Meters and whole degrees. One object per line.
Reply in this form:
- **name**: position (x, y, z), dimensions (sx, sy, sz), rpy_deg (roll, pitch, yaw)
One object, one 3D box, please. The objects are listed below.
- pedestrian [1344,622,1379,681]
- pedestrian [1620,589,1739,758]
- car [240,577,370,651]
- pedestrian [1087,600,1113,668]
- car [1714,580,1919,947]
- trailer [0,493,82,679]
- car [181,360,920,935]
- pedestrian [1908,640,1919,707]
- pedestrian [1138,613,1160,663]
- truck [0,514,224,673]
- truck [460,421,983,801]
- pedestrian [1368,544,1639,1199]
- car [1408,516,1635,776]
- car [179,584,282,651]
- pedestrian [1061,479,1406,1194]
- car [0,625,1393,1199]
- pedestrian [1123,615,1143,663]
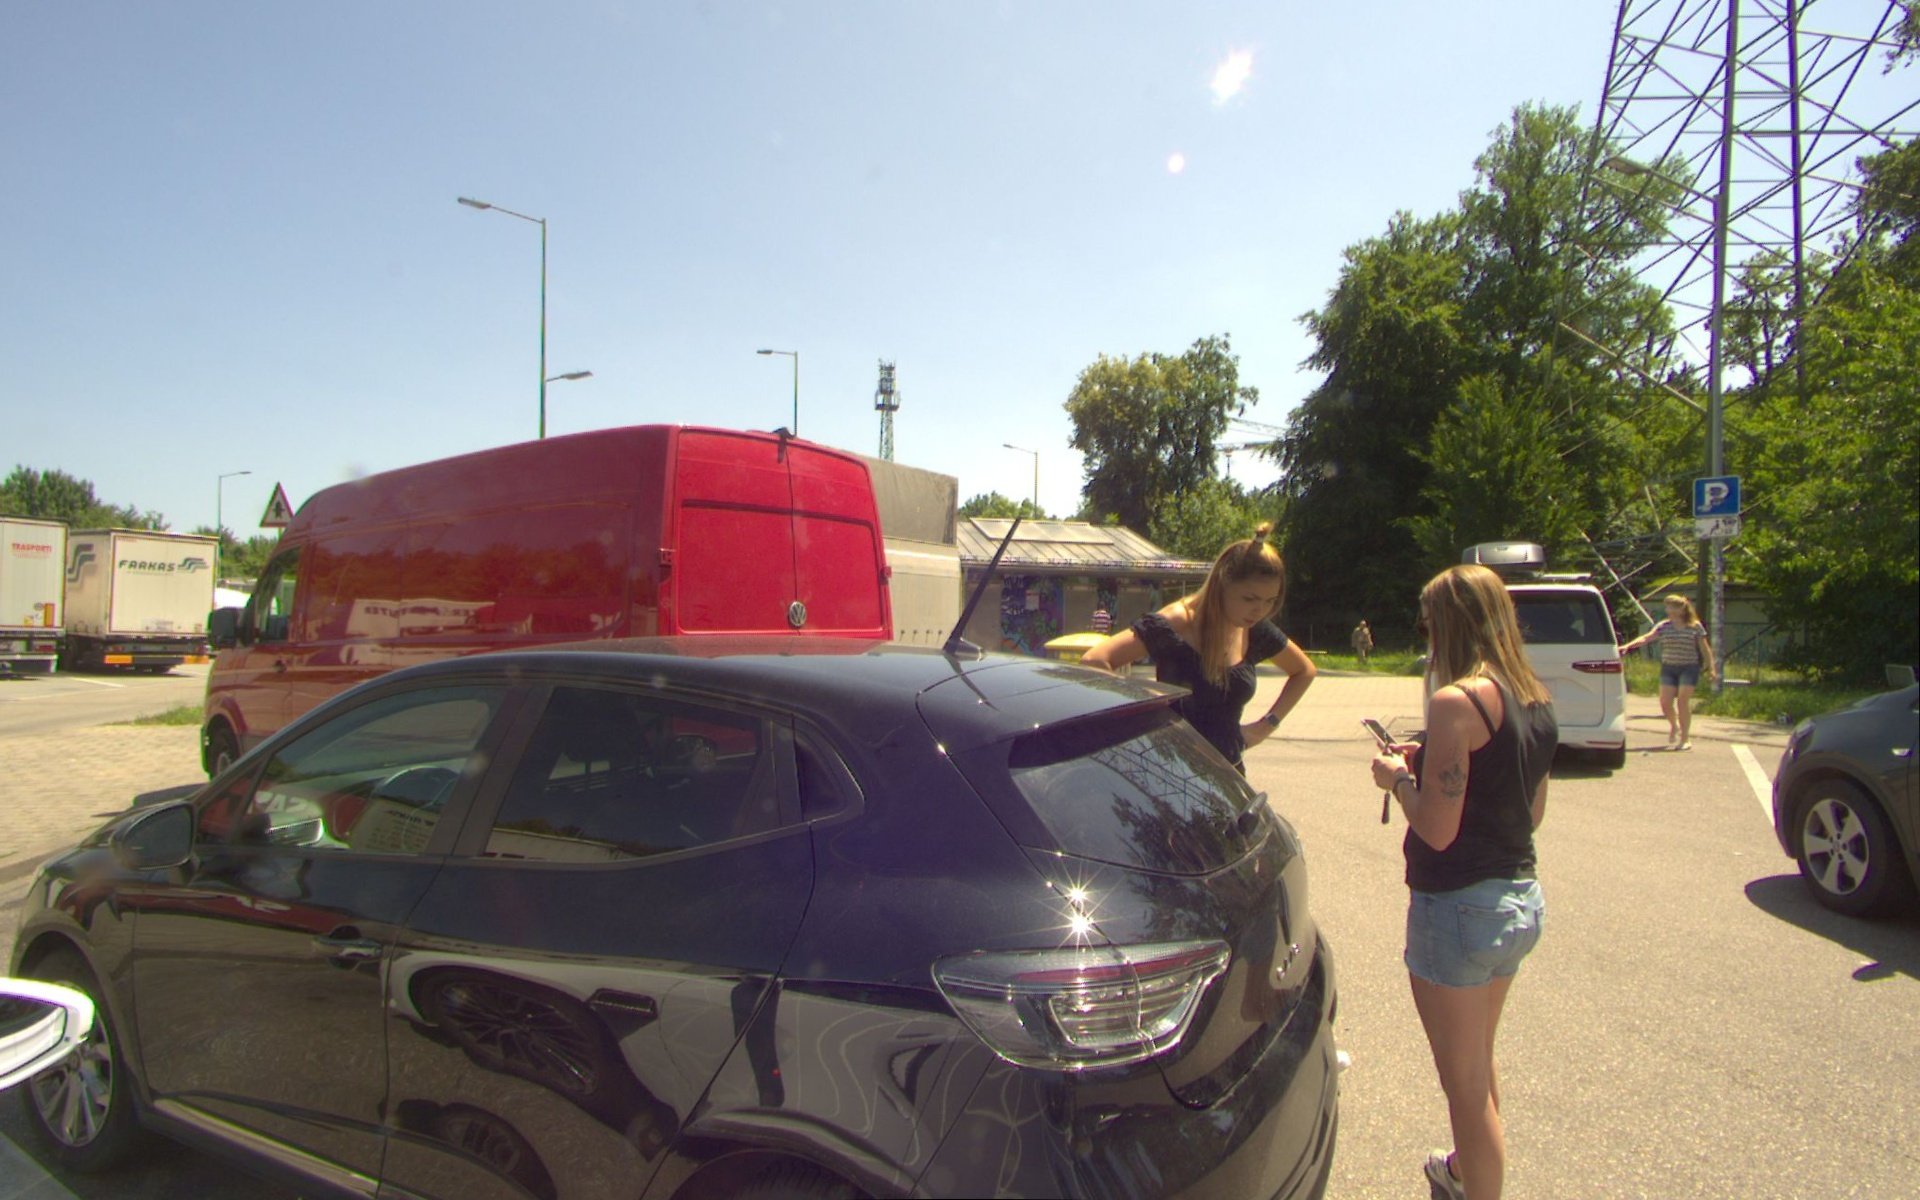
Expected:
- **pedestrian**: position (13.972, 1.780, 34.872), dimensions (0.955, 2.039, 0.829), rpy_deg (0, -1, 10)
- **pedestrian**: position (8.393, 0.842, 11.715), dimensions (0.824, 1.903, 0.777), rpy_deg (0, -1, 4)
- **car**: position (-29.422, 0.605, 44.923), dimensions (6.259, 3.114, 2.495), rpy_deg (0, -1, 32)
- **pedestrian**: position (3.781, 0.911, 26.984), dimensions (0.520, 1.783, 0.651), rpy_deg (0, 0, 23)
- **car**: position (5.140, 0.727, 3.696), dimensions (1.803, 1.638, 4.168), rpy_deg (1, -1, 5)
- **trailer**: position (-28.612, -0.337, 27.880), dimensions (12.642, 4.511, 2.677), rpy_deg (0, -1, 32)
- **car**: position (-3.381, 0.248, 7.319), dimensions (6.298, 2.668, 1.988), rpy_deg (0, -1, 36)
- **pedestrian**: position (17.152, 1.282, 17.413), dimensions (0.694, 1.178, 0.787), rpy_deg (-1, -1, 22)
- **pedestrian**: position (5.638, 1.121, 29.852), dimensions (0.521, 1.478, 0.576), rpy_deg (0, 0, 23)
- **truck**: position (-27.082, -0.021, 31.194), dimensions (11.800, 4.279, 2.582), rpy_deg (-1, -2, 32)
- **truck**: position (-2.436, 0.171, 9.930), dimensions (4.751, 2.863, 2.514), rpy_deg (-1, -2, 34)
- **pedestrian**: position (1.218, 0.705, 2.273), dimensions (0.478, 1.615, 0.501), rpy_deg (0, 0, 29)
- **car**: position (6.610, 0.486, 11.893), dimensions (1.901, 2.401, 4.954), rpy_deg (1, -1, 29)
- **car**: position (-29.893, 0.758, 41.006), dimensions (3.943, 2.632, 2.111), rpy_deg (-1, -2, 32)
- **pedestrian**: position (0.828, 0.635, 3.050), dimensions (0.898, 1.884, 0.486), rpy_deg (1, 0, -24)
- **car**: position (-0.825, 0.829, 2.792), dimensions (3.628, 1.476, 1.776), rpy_deg (-1, -2, 27)
- **pedestrian**: position (4.962, 1.108, 28.722), dimensions (0.439, 1.362, 0.477), rpy_deg (0, 0, 23)
